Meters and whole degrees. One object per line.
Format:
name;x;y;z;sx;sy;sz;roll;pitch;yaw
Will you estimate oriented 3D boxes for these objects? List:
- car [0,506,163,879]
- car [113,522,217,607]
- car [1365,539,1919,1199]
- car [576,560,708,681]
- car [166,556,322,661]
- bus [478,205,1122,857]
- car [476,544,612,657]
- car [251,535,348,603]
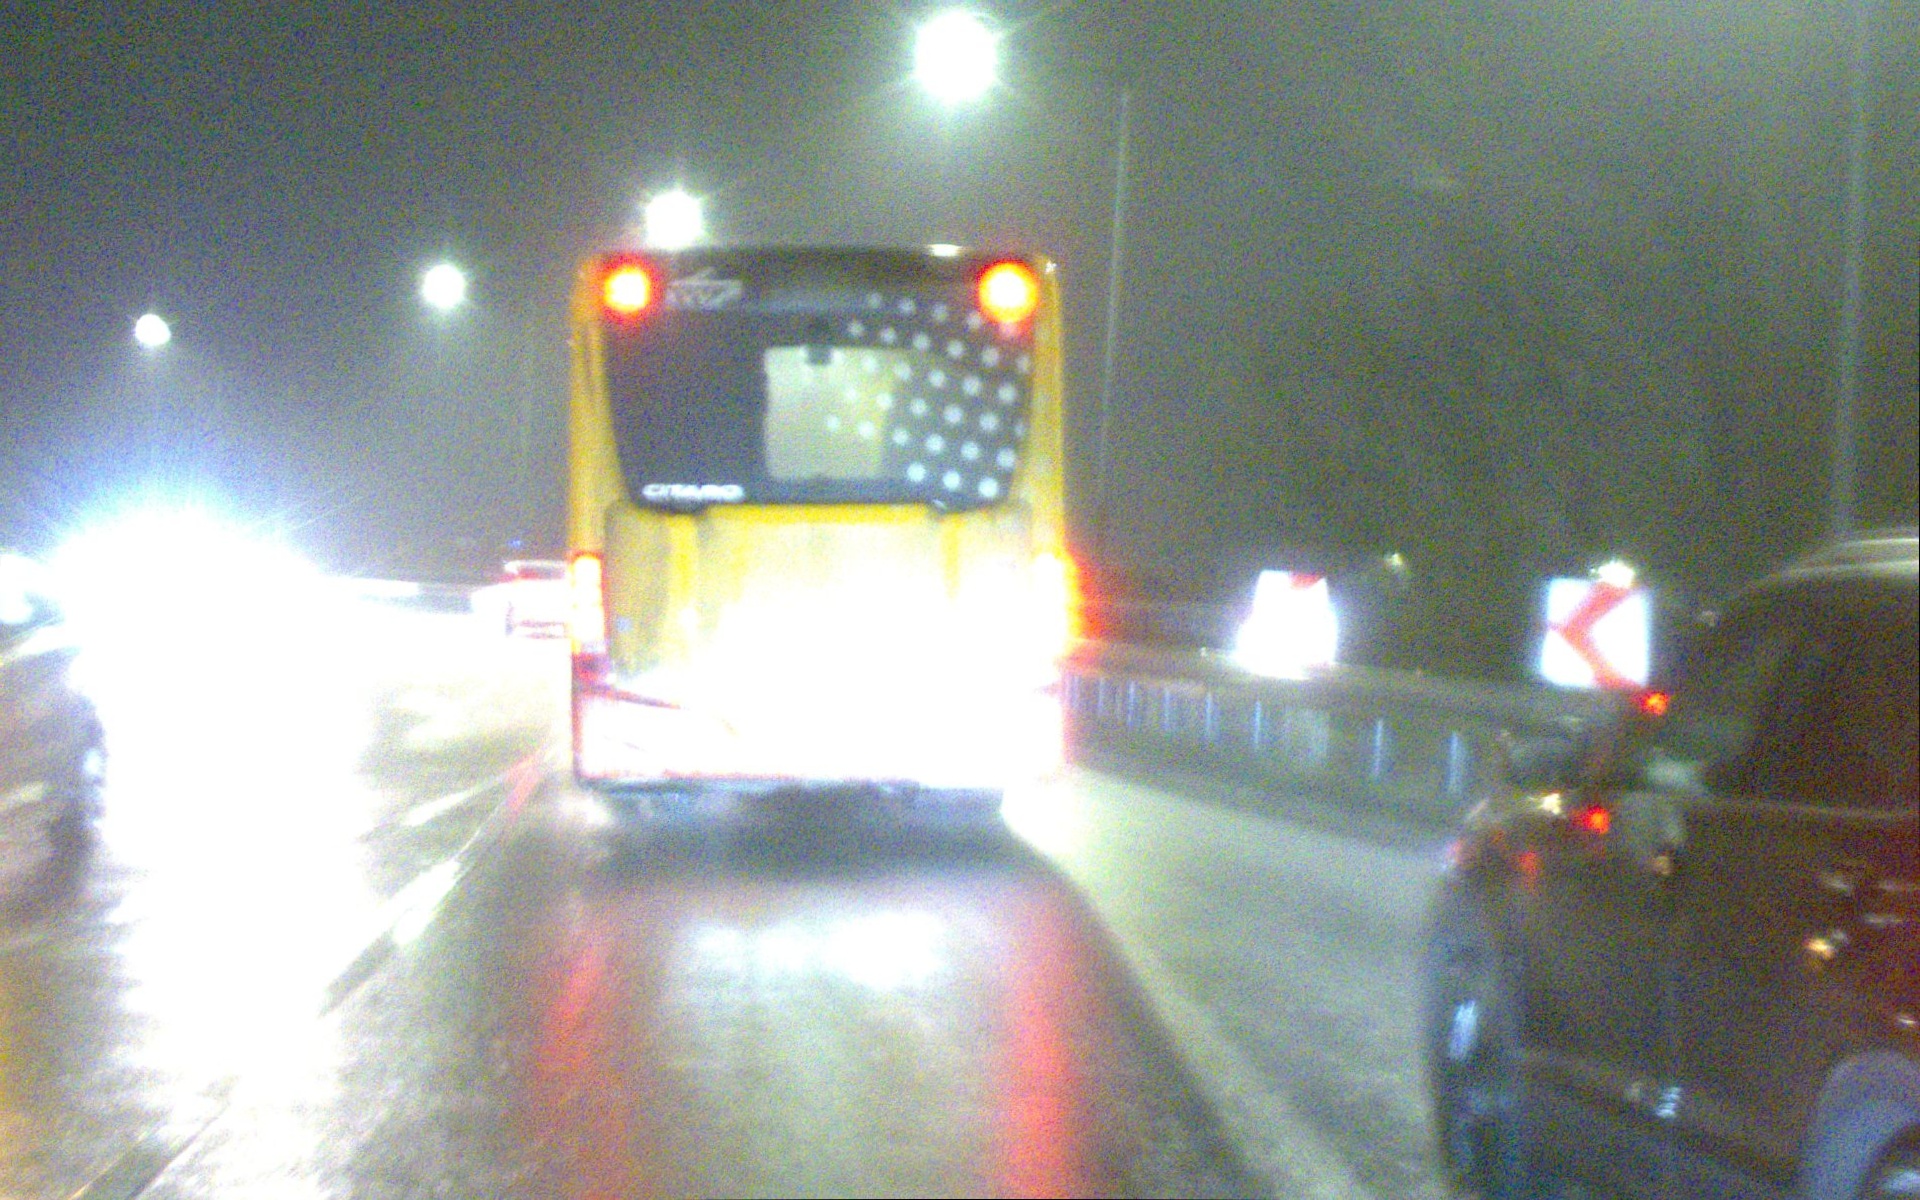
car;-5.269;0.384;15.888;1.999;1.669;4.617;1;1;1
car;-20.266;-0.929;87.560;1.993;2.007;4.001;3;0;-20
car;2.119;0.689;6.433;1.855;1.581;4.001;0;0;-6
car;-4.597;0.266;49.339;1.635;1.650;3.711;1;0;-9
car;-10.866;0.101;52.394;1.766;1.512;3.949;1;1;-3
bus;-1.397;-0.460;23.022;3.083;3.122;12.700;1;1;-6
car;-7.990;0.037;65.784;1.993;2.007;4.001;3;-2;-14
car;-17.878;-0.858;92.964;1.993;1.733;4.001;1;1;-19
